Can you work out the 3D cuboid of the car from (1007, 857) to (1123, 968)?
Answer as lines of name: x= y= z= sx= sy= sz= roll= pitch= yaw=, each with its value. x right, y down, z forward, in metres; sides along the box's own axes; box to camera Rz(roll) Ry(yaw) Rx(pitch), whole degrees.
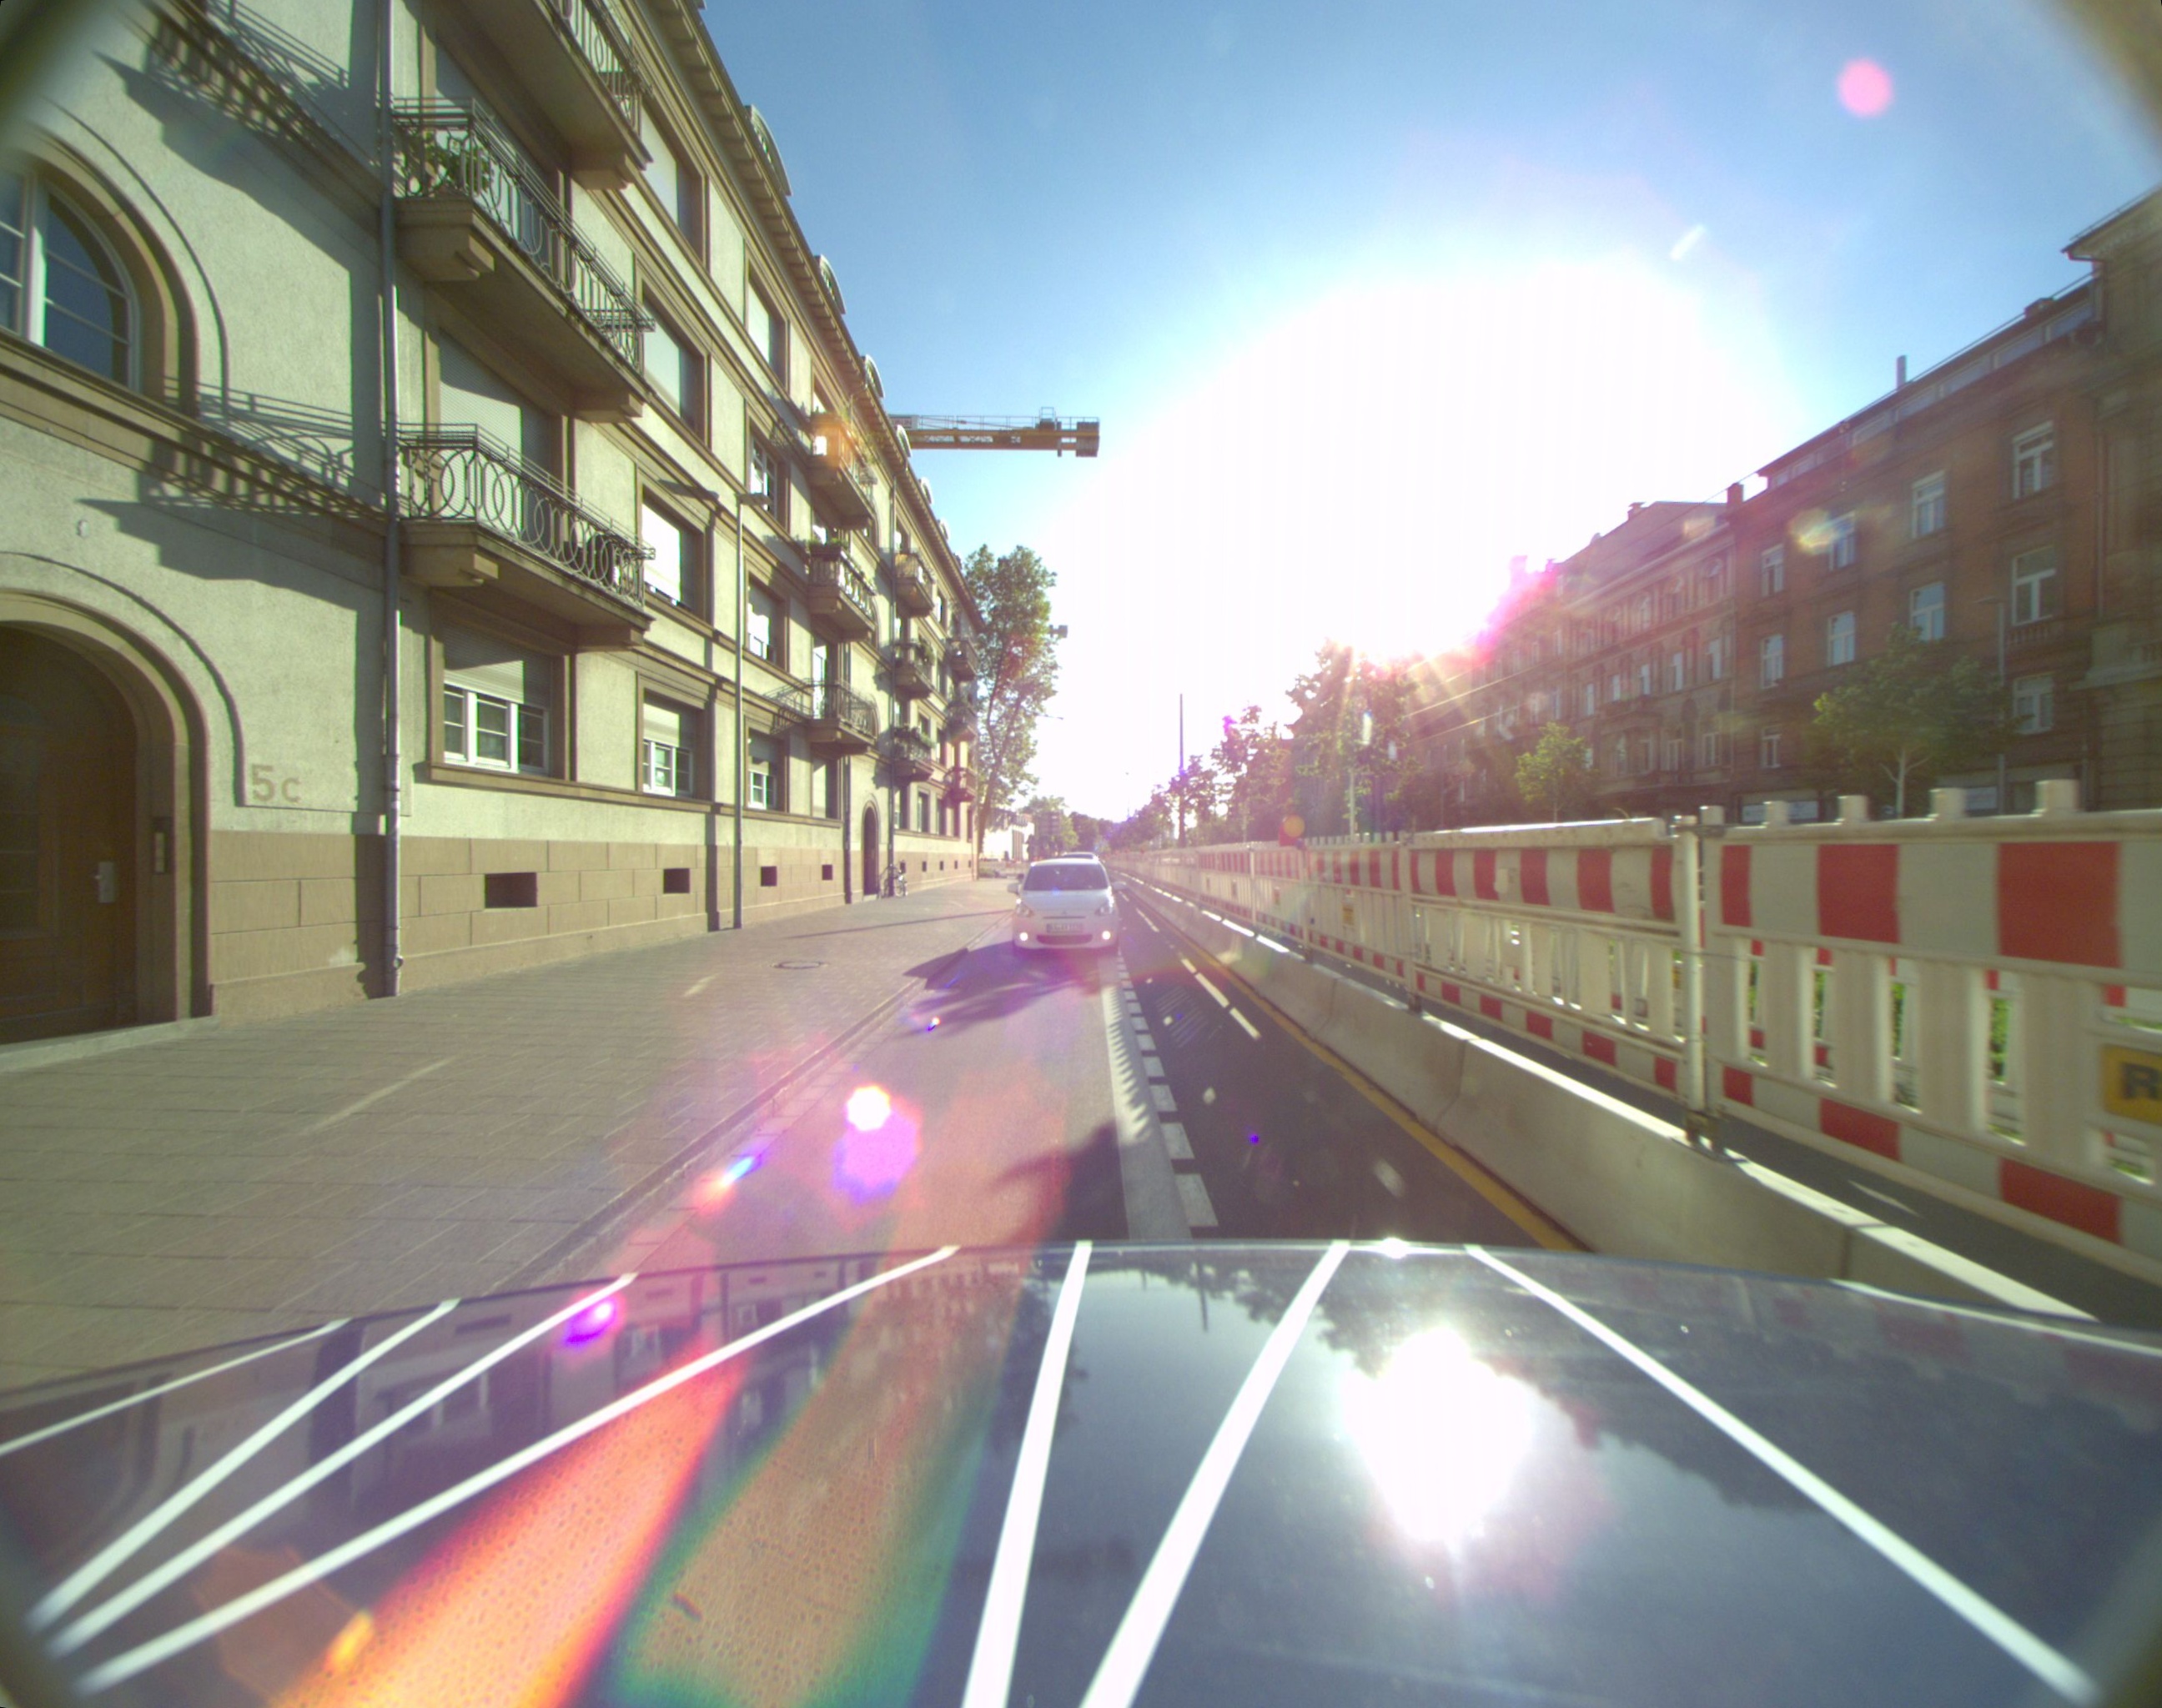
car: x=-0.193 y=0.867 z=13.267 sx=1.634 sy=1.499 sz=4.350 roll=-2 pitch=1 yaw=1

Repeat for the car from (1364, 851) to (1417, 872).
car: x=22.255 y=0.508 z=54.768 sx=1.998 sy=1.429 sz=4.308 roll=-2 pitch=0 yaw=0

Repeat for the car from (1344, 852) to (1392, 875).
car: x=22.956 y=0.762 z=60.945 sx=1.998 sy=1.688 sz=4.887 roll=-2 pitch=0 yaw=0

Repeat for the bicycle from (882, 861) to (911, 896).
bicycle: x=-6.255 y=0.805 z=25.873 sx=0.419 sy=1.089 sz=2.198 roll=0 pitch=0 yaw=1

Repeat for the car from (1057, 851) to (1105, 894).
car: x=0.005 y=0.753 z=33.037 sx=1.900 sy=1.730 sz=4.000 roll=-1 pitch=0 yaw=0

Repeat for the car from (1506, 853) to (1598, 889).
car: x=23.624 y=0.813 z=38.355 sx=1.943 sy=1.648 sz=4.545 roll=-2 pitch=0 yaw=3

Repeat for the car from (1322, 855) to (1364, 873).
car: x=23.114 y=0.853 z=67.220 sx=1.998 sy=1.529 sz=4.984 roll=-2 pitch=0 yaw=1
